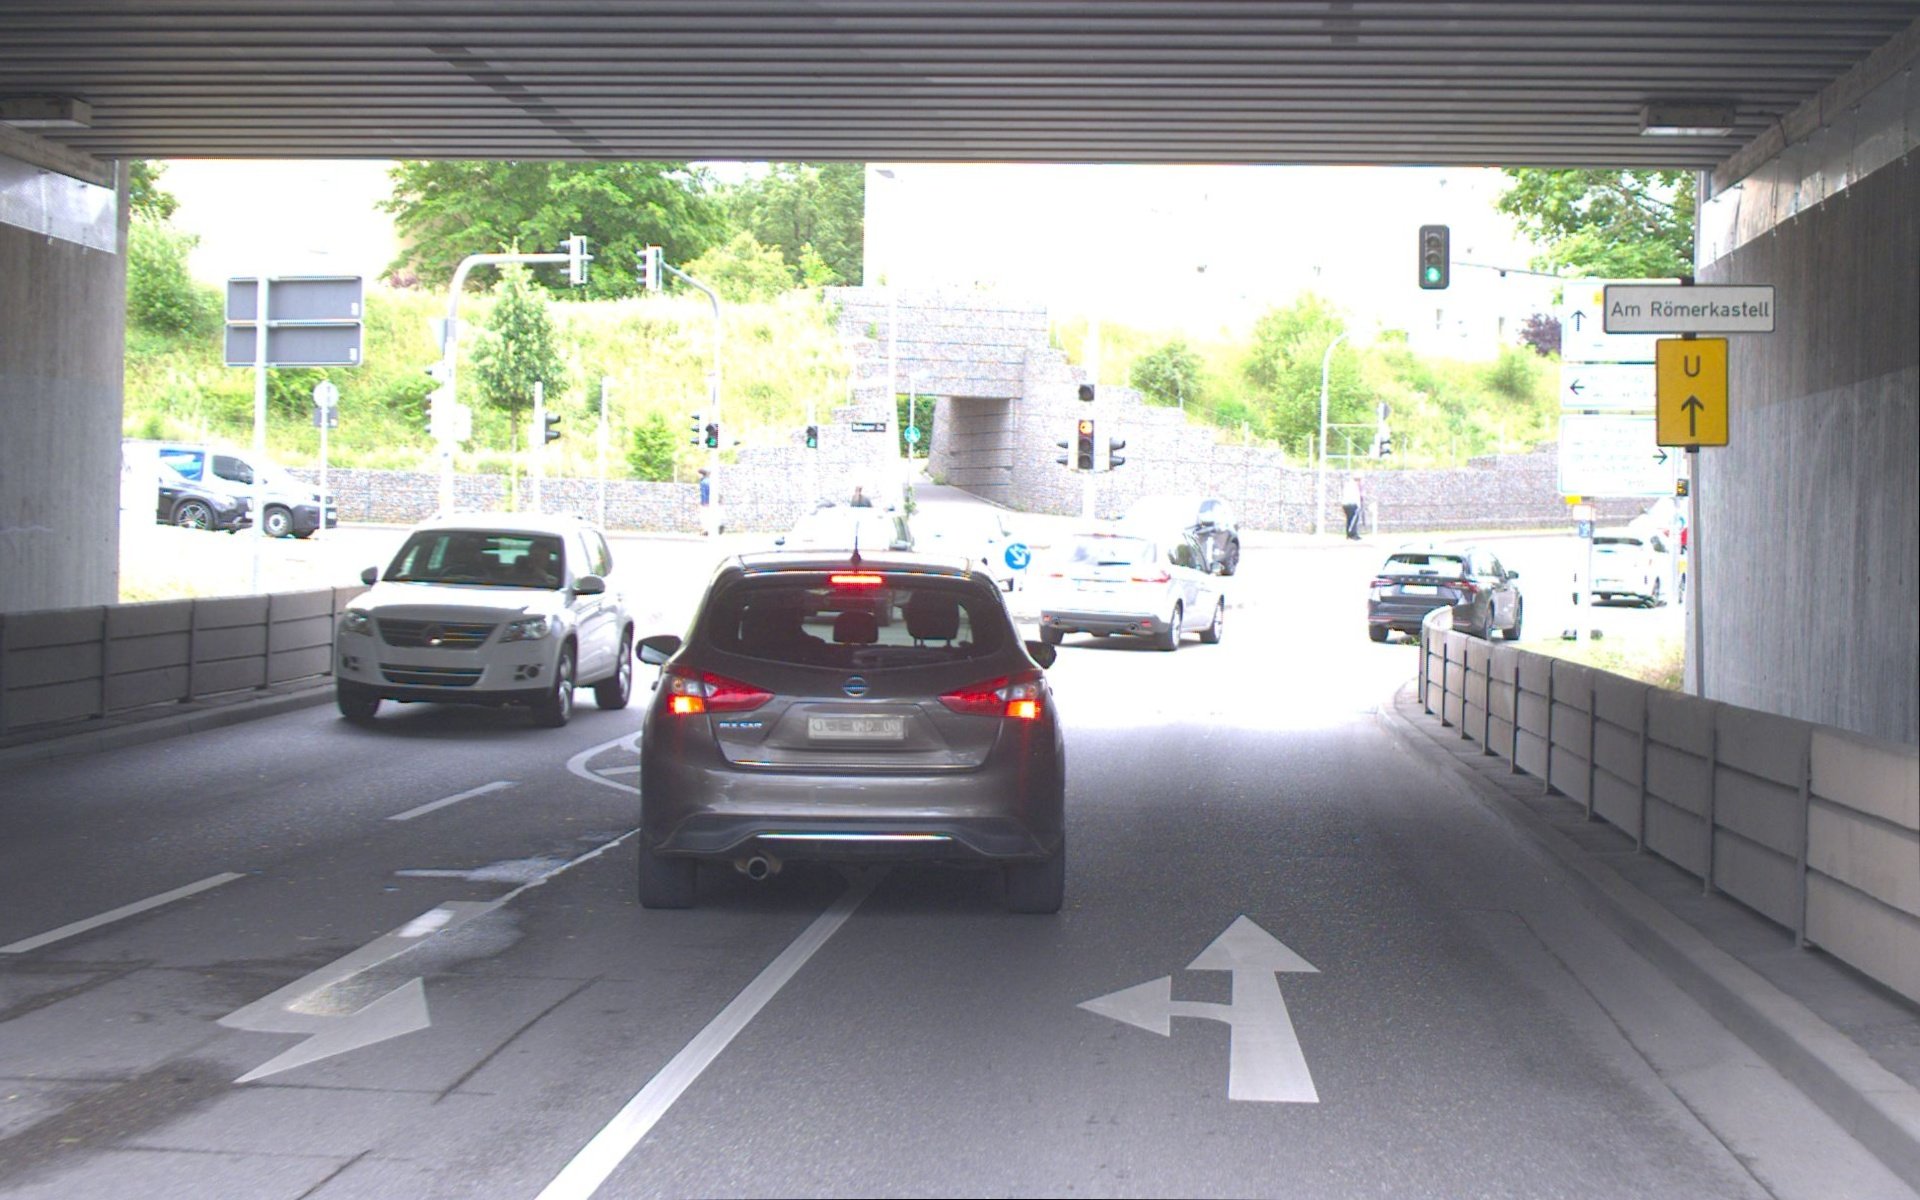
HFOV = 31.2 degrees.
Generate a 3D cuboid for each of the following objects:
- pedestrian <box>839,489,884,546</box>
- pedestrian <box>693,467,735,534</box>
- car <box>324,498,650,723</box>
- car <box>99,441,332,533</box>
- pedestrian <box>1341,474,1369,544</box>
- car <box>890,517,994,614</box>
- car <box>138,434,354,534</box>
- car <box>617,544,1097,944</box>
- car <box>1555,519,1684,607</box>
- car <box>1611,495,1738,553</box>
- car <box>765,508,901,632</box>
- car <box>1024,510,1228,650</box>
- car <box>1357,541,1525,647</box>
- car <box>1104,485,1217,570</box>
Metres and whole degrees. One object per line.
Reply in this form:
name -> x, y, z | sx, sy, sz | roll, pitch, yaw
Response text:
pedestrian -> -2.284, -1.899, 79.324 | 0.910, 1.219, 0.729 | 5, 2, -4
pedestrian -> -6.065, -2.450, 84.691 | 0.952, 1.607, 0.700 | 2, 2, -5
car -> -3.806, 0.038, 28.352 | 1.783, 1.654, 4.108 | 2, 1, 4
car -> -14.550, -2.212, 67.236 | 3.989, 1.590, 1.871 | 3, 2, 12
pedestrian -> 10.634, -2.459, 92.602 | 0.604, 1.856, 0.597 | 2, 2, -1
car -> -0.305, -0.647, 61.339 | 1.763, 1.586, 4.000 | 2, 2, 0
car -> -14.819, -2.415, 71.496 | 3.987, 1.941, 2.000 | 2, 2, 2
car -> -0.538, 0.539, 15.541 | 1.844, 1.488, 4.001 | 2, 1, -4
car -> 12.945, -0.756, 67.340 | 1.995, 1.612, 3.997 | 2, 2, 17
car -> 19.953, -2.134, 95.956 | 1.845, 1.449, 3.992 | 7, 5, 37
car -> -1.813, -0.470, 50.116 | 1.687, 1.702, 3.790 | 2, 1, 2
car -> 2.286, -0.301, 46.255 | 1.831, 1.700, 3.866 | 3, 2, 16
car -> 7.210, -0.127, 51.213 | 1.901, 1.461, 3.997 | 2, 2, 16
car -> 4.241, -1.538, 72.204 | 1.994, 1.692, 4.166 | 2, 2, 8
